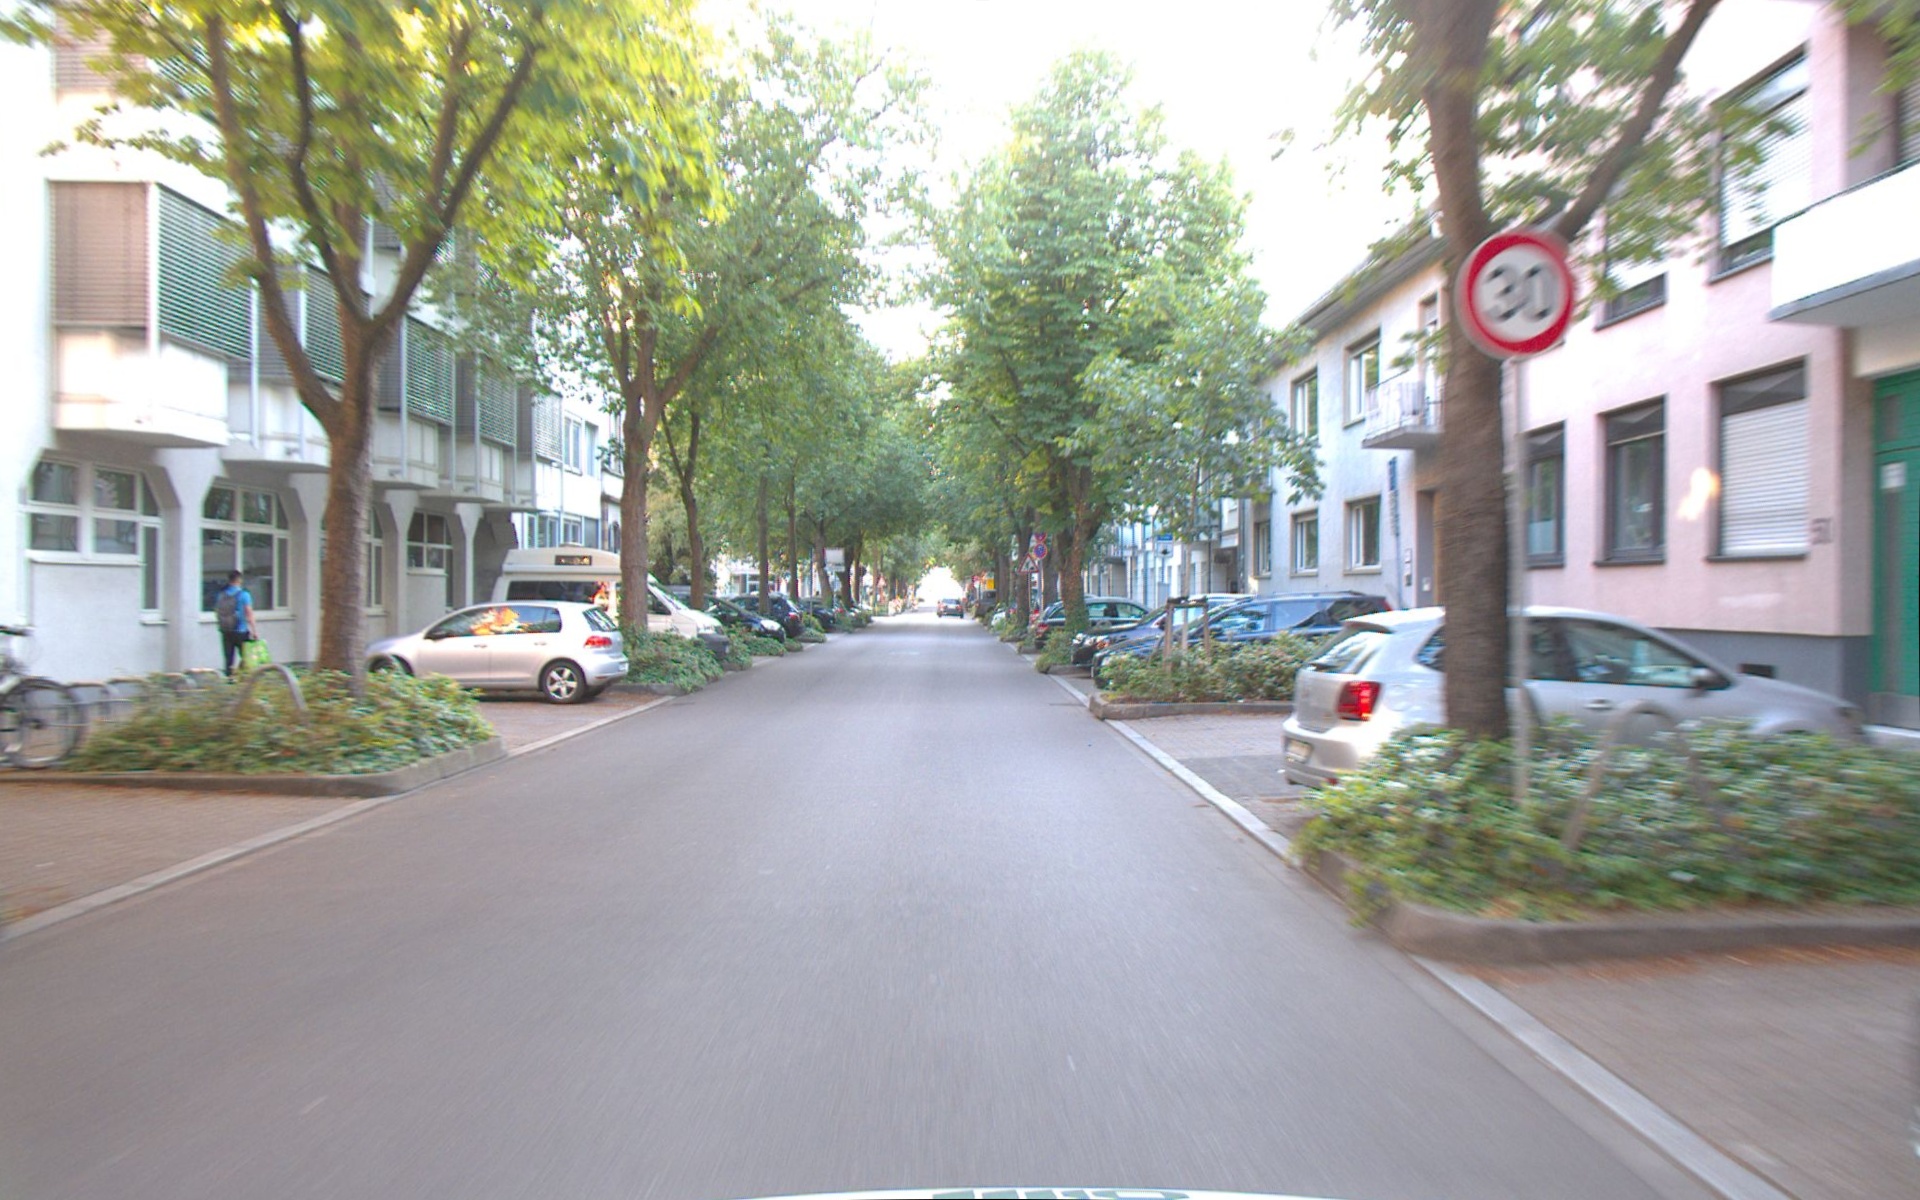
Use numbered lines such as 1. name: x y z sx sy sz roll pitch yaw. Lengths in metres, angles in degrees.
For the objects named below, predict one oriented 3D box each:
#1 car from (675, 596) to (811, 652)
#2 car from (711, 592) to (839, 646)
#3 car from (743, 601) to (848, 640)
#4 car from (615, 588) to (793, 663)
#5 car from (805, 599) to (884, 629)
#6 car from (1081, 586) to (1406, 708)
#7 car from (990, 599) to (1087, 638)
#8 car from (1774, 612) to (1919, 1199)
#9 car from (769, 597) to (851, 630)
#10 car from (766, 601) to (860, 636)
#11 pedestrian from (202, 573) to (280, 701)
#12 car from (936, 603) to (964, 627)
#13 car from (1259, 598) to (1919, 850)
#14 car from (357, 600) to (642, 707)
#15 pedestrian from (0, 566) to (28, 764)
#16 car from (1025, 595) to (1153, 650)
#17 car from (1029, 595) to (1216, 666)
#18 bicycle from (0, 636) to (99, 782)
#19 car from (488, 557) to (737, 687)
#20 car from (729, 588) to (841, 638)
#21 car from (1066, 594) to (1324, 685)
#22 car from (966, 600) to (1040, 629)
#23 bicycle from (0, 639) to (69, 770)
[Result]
1. car: -7.003 0.776 53.608 4.117 1.664 1.962 -2 0 -1
2. car: -6.824 0.688 61.304 4.502 1.839 1.962 -2 0 -1
3. car: -7.652 0.938 77.065 4.665 1.658 1.962 -2 0 -1
4. car: -7.042 0.701 45.884 4.587 1.886 1.962 -2 0 -1
5. car: -7.032 0.856 101.204 4.665 1.658 1.962 -2 0 -1
6. car: 4.197 0.670 25.057 4.620 1.740 1.950 0 1 1
7. car: 3.454 0.813 73.615 4.181 1.593 1.962 -2 0 -1
8. car: 4.463 0.716 3.361 4.615 1.446 2.035 -1 0 -1
9. car: -7.526 0.678 83.047 3.906 1.537 1.800 -2 0 -1
10. car: -7.567 0.964 85.521 4.665 1.658 1.962 -2 0 -1
11. pedestrian: -10.073 0.508 23.201 0.689 1.758 0.905 0 0 -1
12. car: -0.691 1.032 117.001 1.917 1.593 4.282 -2 0 0
13. car: 4.159 0.768 11.349 3.800 1.465 1.846 -1 0 -4
14. car: -6.917 0.786 25.110 3.791 1.512 1.757 1 0 1
15. pedestrian: -9.010 0.582 14.956 0.689 1.788 0.739 0 -1 23
16. car: 4.152 0.715 53.606 3.968 1.625 1.824 -2 0 -1
17. car: 3.926 0.728 40.492 4.414 1.548 1.996 -2 0 3
18. bicycle: -7.806 0.854 13.025 1.771 1.127 0.496 1 0 -25
19. car: -6.946 0.432 33.428 4.587 2.521 2.000 0 0 -1
20. car: -7.647 0.573 72.747 4.665 2.019 1.962 -2 0 -1
21. car: 4.415 0.727 31.588 4.587 1.548 1.962 -2 0 -1
22. car: 2.495 0.836 96.679 4.181 1.593 1.962 -2 0 -1
23. bicycle: -8.495 0.862 14.173 1.757 1.047 0.500 1 0 22
